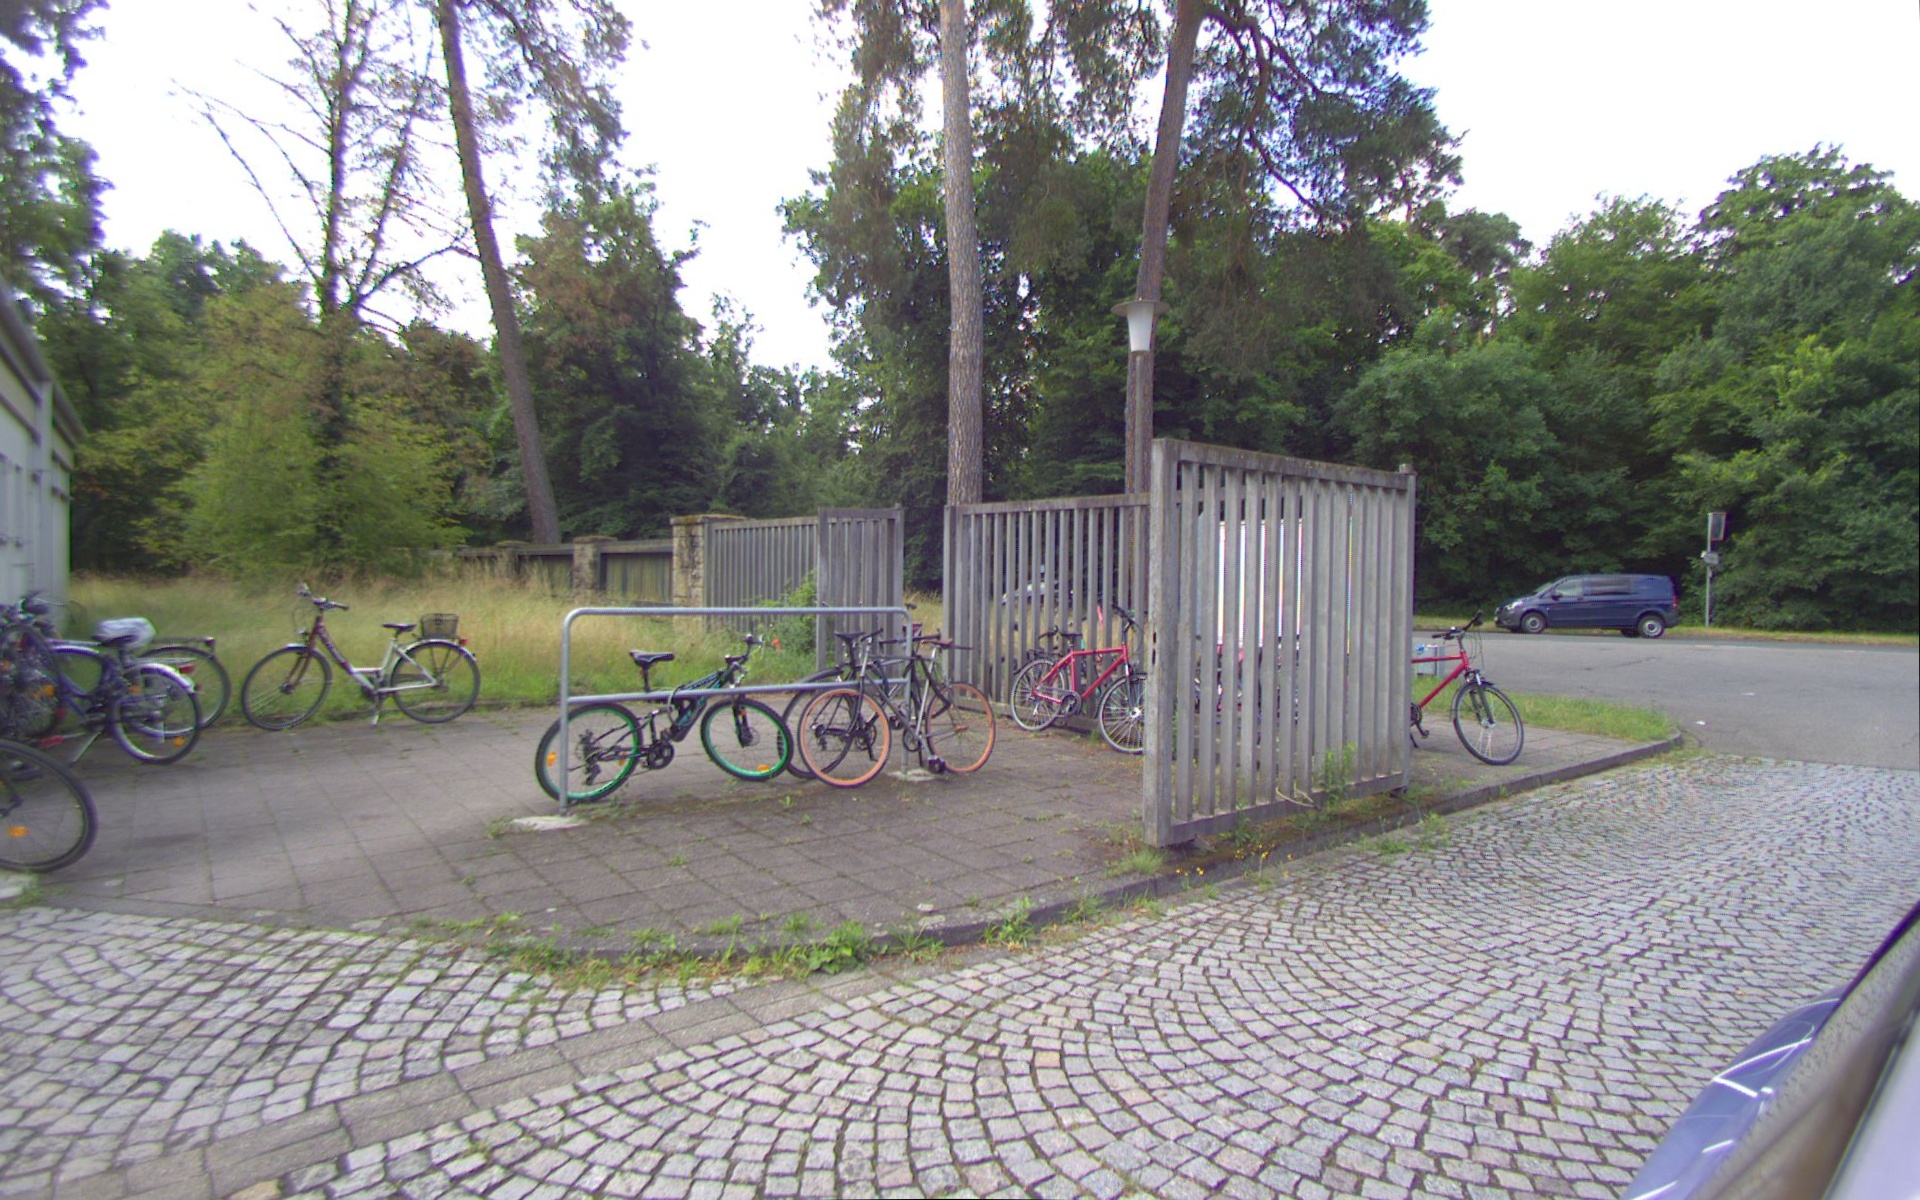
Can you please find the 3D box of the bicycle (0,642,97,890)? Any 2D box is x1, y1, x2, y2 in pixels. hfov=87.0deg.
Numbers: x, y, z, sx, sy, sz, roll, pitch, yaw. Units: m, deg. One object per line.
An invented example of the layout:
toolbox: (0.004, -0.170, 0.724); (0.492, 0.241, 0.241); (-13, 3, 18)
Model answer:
bicycle: (-4.472, 0.697, 3.975); (1.626, 0.964, 0.535); (-1, 2, -40)

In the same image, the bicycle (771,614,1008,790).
bicycle: (-0.451, 0.653, 7.117); (1.702, 1.070, 0.474); (0, 1, -40)

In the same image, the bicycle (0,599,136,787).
bicycle: (-5.997, 0.531, 6.228); (1.723, 1.059, 0.453); (1, 1, 12)

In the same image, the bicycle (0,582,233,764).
bicycle: (-5.856, 0.461, 6.801); (1.710, 1.146, 0.473); (1, 1, 7)

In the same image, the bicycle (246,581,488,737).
bicycle: (-4.801, 0.435, 8.253); (1.648, 1.153, 0.649); (0, 1, -34)

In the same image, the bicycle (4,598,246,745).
bicycle: (-6.163, 0.512, 7.524); (1.328, 1.023, 0.406); (1, 1, -17)

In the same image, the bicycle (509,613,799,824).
bicycle: (-1.828, 0.643, 6.151); (1.537, 1.075, 0.691); (0, 2, -40)

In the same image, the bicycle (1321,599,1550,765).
bicycle: (4.170, 0.662, 8.950); (1.650, 1.245, 0.738); (4, 3, 43)

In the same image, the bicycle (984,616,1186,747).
bicycle: (1.067, 0.674, 9.033); (0.495, 0.951, 1.864); (0, 3, -45)

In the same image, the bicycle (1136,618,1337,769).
bicycle: (2.281, 0.733, 8.559); (0.380, 1.046, 1.731); (0, 2, -38)

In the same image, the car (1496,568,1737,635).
car: (20.154, 0.003, 31.419); (5.868, 1.859, 1.989); (2, 1, 18)
